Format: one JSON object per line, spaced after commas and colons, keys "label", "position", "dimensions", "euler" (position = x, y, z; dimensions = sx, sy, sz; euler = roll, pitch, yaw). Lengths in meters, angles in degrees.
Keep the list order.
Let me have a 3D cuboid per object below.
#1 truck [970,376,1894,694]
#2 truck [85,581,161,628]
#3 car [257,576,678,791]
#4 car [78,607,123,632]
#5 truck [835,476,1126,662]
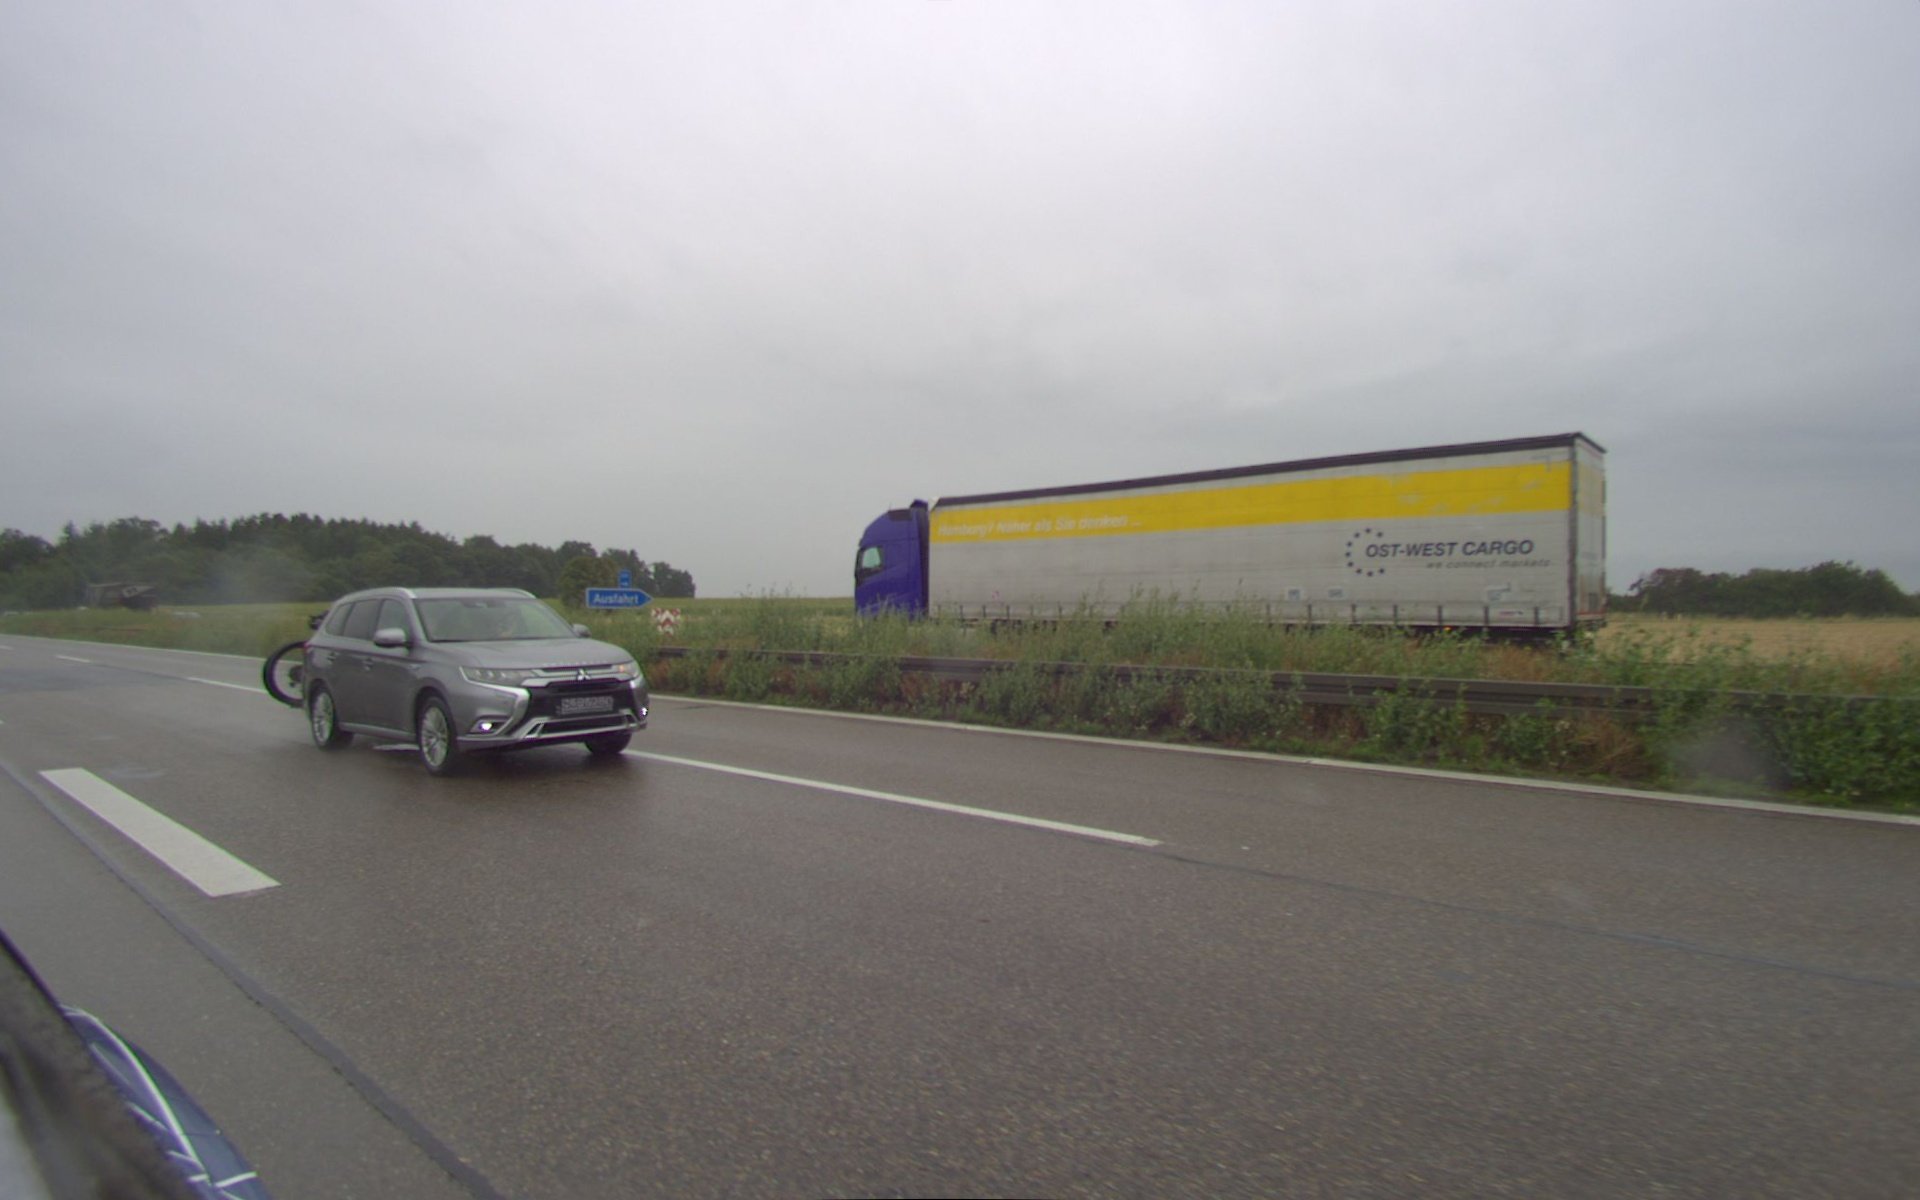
{"label": "truck", "position": [7.045, -0.787, 19.035], "dimensions": [15.312, 3.996, 3.161], "euler": [-1, 2, 42]}
{"label": "truck", "position": [-76.160, 0.447, 91.942], "dimensions": [13.808, 3.996, 3.161], "euler": [-1, 2, 42]}
{"label": "car", "position": [-5.103, 0.666, 10.100], "dimensions": [5.097, 1.646, 1.844], "euler": [-1, 0, 40]}
{"label": "car", "position": [-69.272, 1.576, 81.542], "dimensions": [4.529, 1.889, 2.083], "euler": [-1, 1, 41]}
{"label": "truck", "position": [0.355, -0.684, 25.055], "dimensions": [6.660, 3.996, 3.161], "euler": [-1, 1, 42]}
